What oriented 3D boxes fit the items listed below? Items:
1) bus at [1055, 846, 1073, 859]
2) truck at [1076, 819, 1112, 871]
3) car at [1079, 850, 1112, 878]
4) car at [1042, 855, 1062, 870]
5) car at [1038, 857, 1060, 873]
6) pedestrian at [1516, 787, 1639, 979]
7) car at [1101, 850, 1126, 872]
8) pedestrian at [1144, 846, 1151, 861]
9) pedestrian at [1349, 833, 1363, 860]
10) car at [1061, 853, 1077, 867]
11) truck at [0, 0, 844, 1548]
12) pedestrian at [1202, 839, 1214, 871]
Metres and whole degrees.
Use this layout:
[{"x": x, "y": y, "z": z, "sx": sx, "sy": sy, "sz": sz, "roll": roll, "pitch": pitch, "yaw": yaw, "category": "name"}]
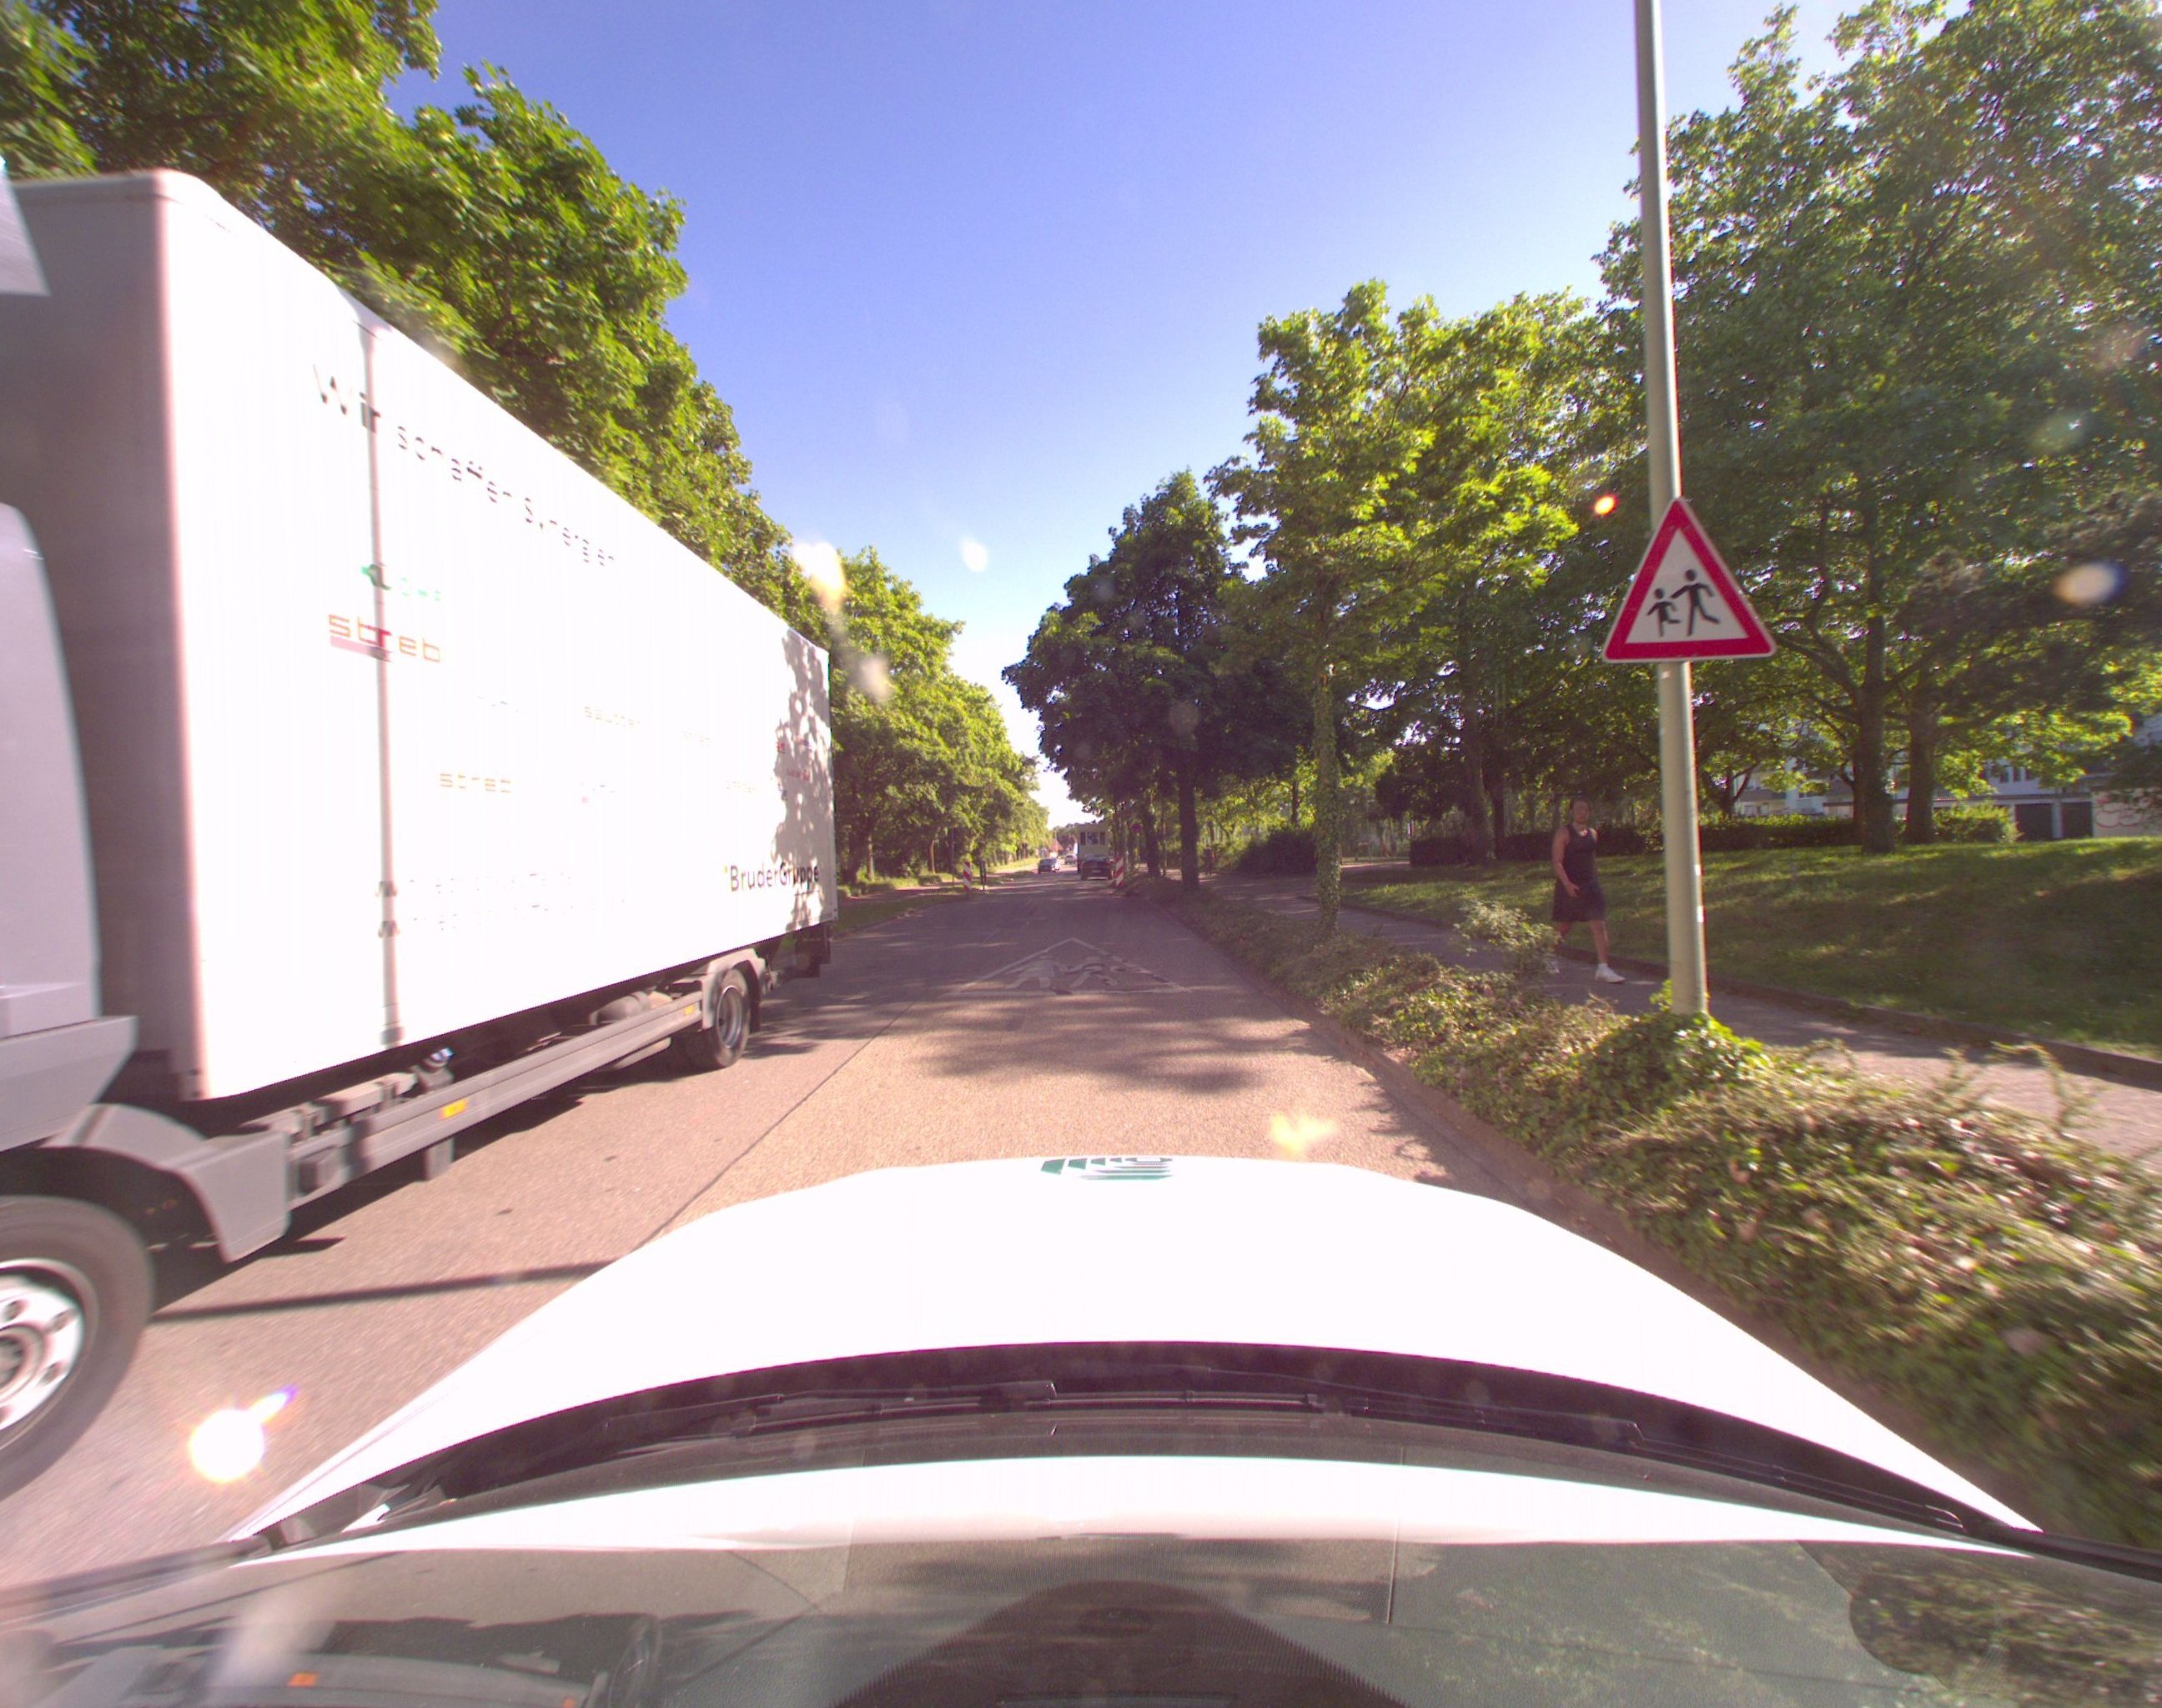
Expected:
[{"x": -4.654, "y": -0.457, "z": 223.787, "sx": 4.049, "sy": 3.349, "sz": 9.807, "roll": -3, "pitch": 0, "yaw": 2, "category": "bus"}, {"x": 0.978, "y": -0.695, "z": 68.859, "sx": 2.764, "sy": 3.996, "sz": 10.345, "roll": -1, "pitch": 0, "yaw": 0, "category": "truck"}, {"x": 0.876, "y": 0.586, "z": 46.690, "sx": 1.742, "sy": 1.480, "sz": 4.032, "roll": -1, "pitch": -1, "yaw": 2, "category": "car"}, {"x": -3.125, "y": 0.853, "z": 88.380, "sx": 1.749, "sy": 1.454, "sz": 4.244, "roll": -4, "pitch": 0, "yaw": 2, "category": "car"}, {"x": -3.070, "y": 1.027, "z": 78.881, "sx": 1.594, "sy": 1.426, "sz": 3.656, "roll": -4, "pitch": 0, "yaw": 4, "category": "car"}, {"x": 4.994, "y": 0.279, "z": 8.234, "sx": 0.788, "sy": 1.832, "sz": 0.671, "roll": -2, "pitch": 0, "yaw": 0, "category": "pedestrian"}, {"x": 2.386, "y": 0.481, "z": 59.217, "sx": 1.633, "sy": 1.420, "sz": 4.002, "roll": -4, "pitch": 0, "yaw": 2, "category": "car"}, {"x": 7.168, "y": -0.020, "z": 87.634, "sx": 0.597, "sy": 1.611, "sz": 0.599, "roll": -3, "pitch": 0, "yaw": -3, "category": "pedestrian"}, {"x": 17.052, "y": -0.463, "z": 50.557, "sx": 0.691, "sy": 1.611, "sz": 0.704, "roll": -1, "pitch": -1, "yaw": 30, "category": "pedestrian"}, {"x": -1.915, "y": 0.872, "z": 127.790, "sx": 1.983, "sy": 2.013, "sz": 4.007, "roll": -3, "pitch": 0, "yaw": 6, "category": "car"}, {"x": -3.914, "y": -0.189, "z": 4.576, "sx": 2.726, "sy": 3.641, "sz": 8.098, "roll": -2, "pitch": 0, "yaw": 0, "category": "truck"}, {"x": 6.481, "y": 0.062, "z": 41.494, "sx": 0.568, "sy": 1.608, "sz": 0.673, "roll": -2, "pitch": 0, "yaw": 9, "category": "pedestrian"}]
